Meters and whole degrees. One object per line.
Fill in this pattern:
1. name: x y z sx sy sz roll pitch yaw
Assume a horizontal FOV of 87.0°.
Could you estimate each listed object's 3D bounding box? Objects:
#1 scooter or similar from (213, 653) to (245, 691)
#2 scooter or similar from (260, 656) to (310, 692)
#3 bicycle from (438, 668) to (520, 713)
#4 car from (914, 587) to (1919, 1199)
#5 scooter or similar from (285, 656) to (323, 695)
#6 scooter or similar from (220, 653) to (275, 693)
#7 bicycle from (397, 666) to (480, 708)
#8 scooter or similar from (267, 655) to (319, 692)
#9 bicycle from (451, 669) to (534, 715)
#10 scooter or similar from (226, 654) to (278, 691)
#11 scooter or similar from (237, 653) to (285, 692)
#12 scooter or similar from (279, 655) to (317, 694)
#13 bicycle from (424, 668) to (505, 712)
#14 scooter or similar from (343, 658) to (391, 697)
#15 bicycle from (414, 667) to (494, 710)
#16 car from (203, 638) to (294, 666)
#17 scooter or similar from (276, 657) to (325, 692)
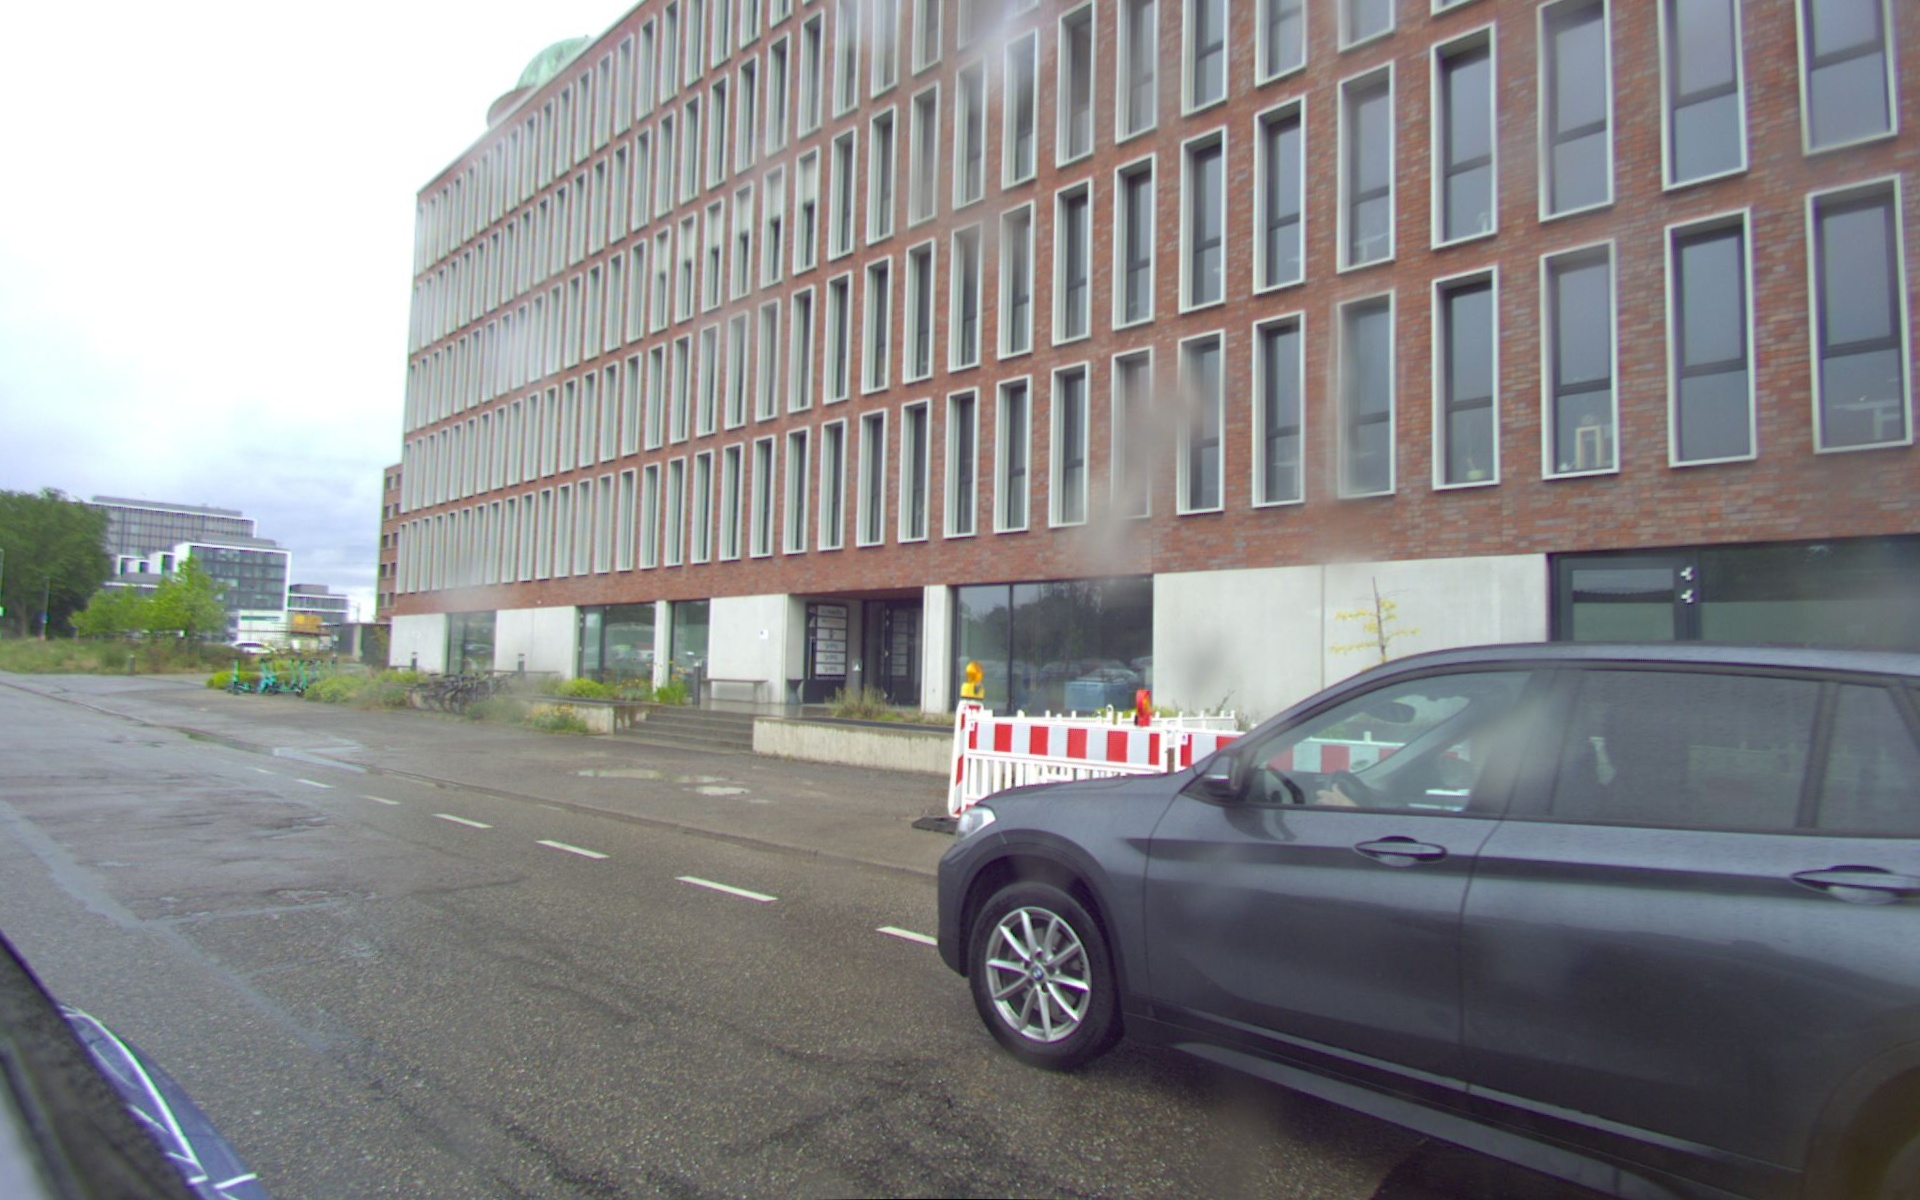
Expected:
1. scooter or similar: -24.933 2.457 34.521 1.319 1.239 0.461 -1 -6 38
2. scooter or similar: -23.670 2.602 35.494 1.301 1.186 0.468 7 -6 -44
3. bicycle: -12.396 2.320 26.131 0.544 1.085 1.841 -1 -3 39
4. car: 1.952 0.866 3.102 4.150 1.581 1.740 -2 -7 43
5. scooter or similar: -21.223 2.437 32.761 0.460 1.217 1.210 3 -5 -7
6. scooter or similar: -23.171 2.378 32.924 1.298 1.239 0.469 4 -5 -20
7. bicycle: -14.262 2.371 27.723 0.620 1.085 1.929 -1 -3 39
8. scooter or similar: -22.443 2.490 34.060 0.465 1.186 1.308 0 -5 28
9. bicycle: -11.803 2.298 25.602 0.544 1.085 1.841 -1 -3 39
10. scooter or similar: -24.912 2.565 35.619 1.299 1.239 0.509 3 -5 -11
11. scooter or similar: -23.573 2.448 34.142 1.307 1.239 0.465 1 -5 12
12. scooter or similar: -21.745 2.436 33.259 0.460 1.239 1.210 3 -5 -7
13. bicycle: -13.059 2.349 26.707 0.544 1.085 1.841 -1 -3 39
14. scooter or similar: -19.108 2.512 32.629 1.211 1.217 0.418 6 -6 -42
15. bicycle: -13.548 2.356 27.131 0.544 1.085 1.841 -1 -3 39
16. car: -47.045 3.438 67.023 1.997 1.654 4.478 -1 -5 38
17. scooter or similar: -23.056 2.610 35.409 1.301 1.186 0.468 7 -6 -44
